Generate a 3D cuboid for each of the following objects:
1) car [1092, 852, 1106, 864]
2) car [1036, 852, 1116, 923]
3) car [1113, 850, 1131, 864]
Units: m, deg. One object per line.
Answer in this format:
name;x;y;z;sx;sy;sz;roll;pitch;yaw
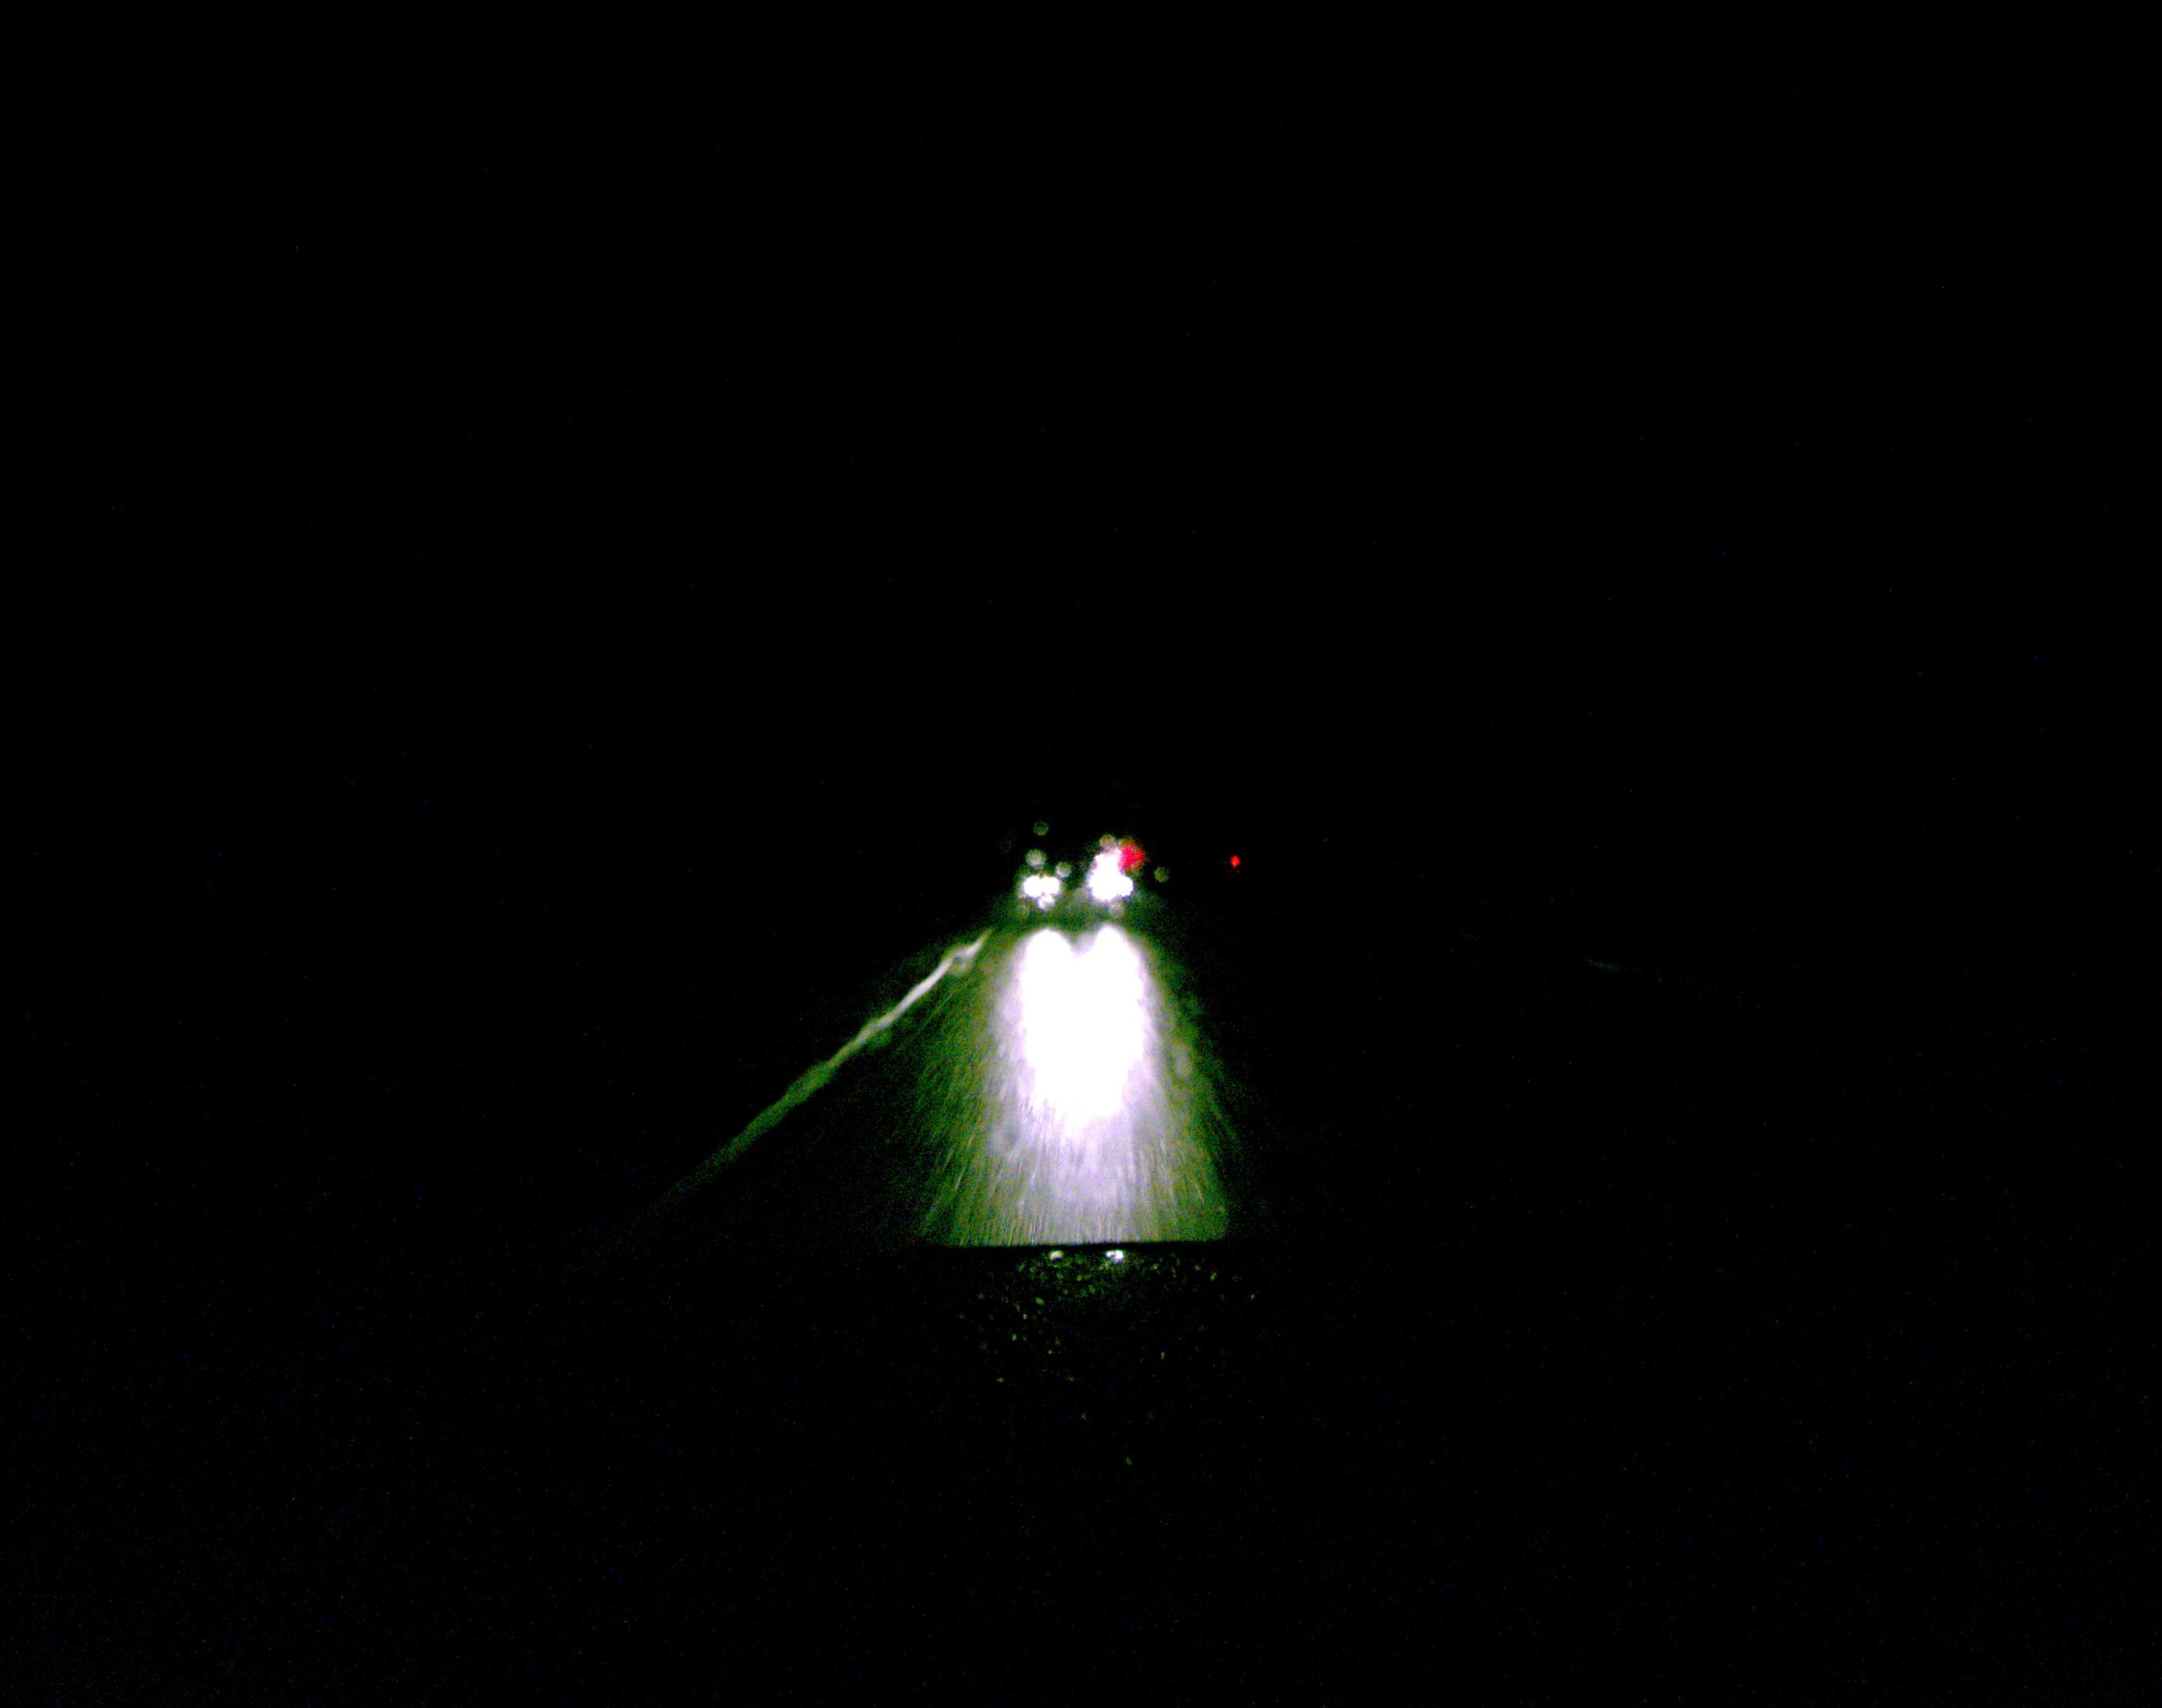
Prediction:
car;2.607;0.563;107.919;1.845;1.565;4.000;-2;1;3
car;-0.021;0.790;20.041;1.845;1.565;4.000;-2;1;3
car;5.000;0.339;92.997;1.908;1.461;4.274;-4;0;0
